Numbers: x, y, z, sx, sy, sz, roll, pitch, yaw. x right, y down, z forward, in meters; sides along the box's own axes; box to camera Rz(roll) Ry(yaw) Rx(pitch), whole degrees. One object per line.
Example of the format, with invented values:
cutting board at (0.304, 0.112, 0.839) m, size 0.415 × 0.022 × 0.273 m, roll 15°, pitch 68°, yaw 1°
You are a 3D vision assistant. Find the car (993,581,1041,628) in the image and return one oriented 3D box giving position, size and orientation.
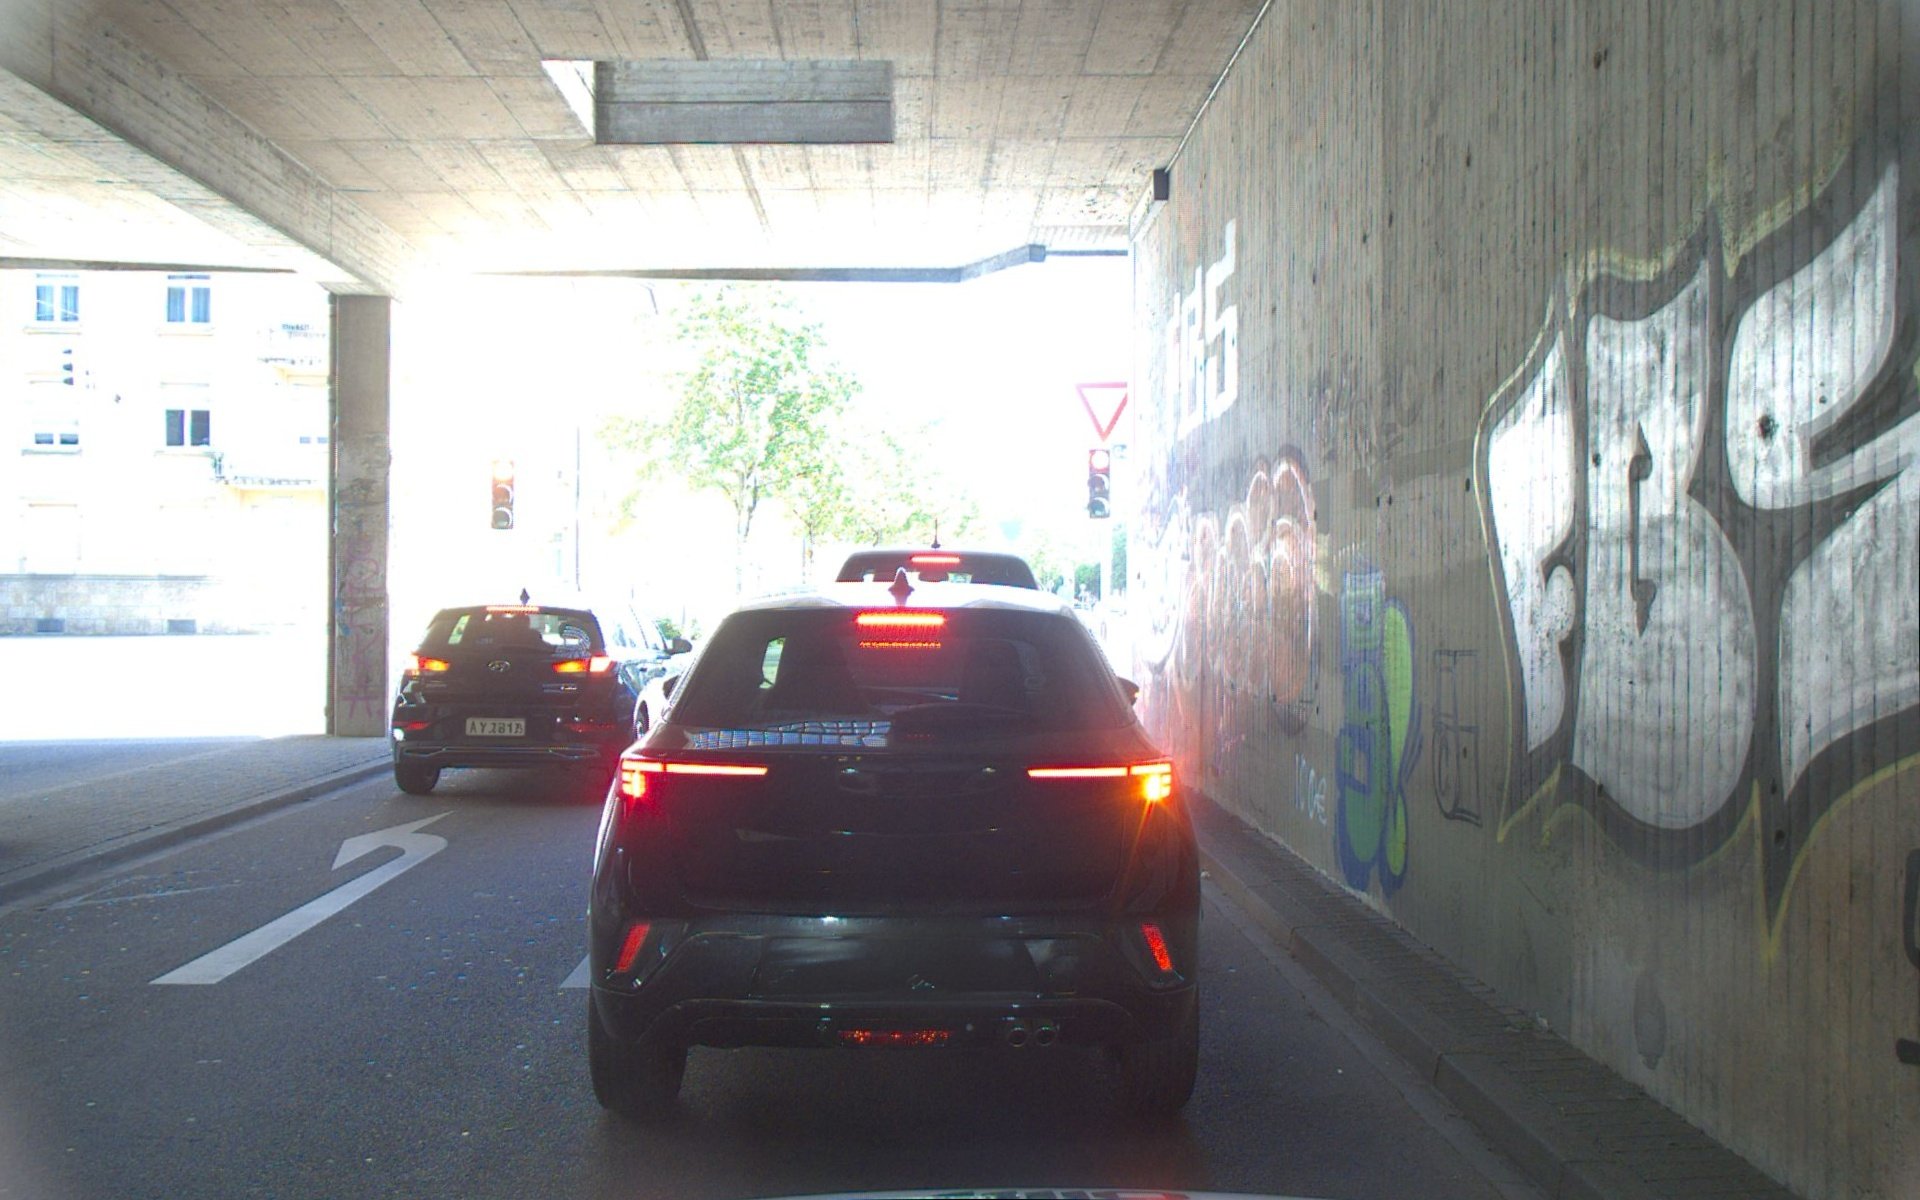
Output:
car at (2.178, 0.184, 62.253) m, size 1.717 × 1.696 × 3.946 m, roll 1°, pitch 0°, yaw 3°

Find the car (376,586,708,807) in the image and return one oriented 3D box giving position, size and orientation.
car at (-3.151, 0.657, 13.256) m, size 1.726 × 1.506 × 3.843 m, roll 0°, pitch 0°, yaw -1°

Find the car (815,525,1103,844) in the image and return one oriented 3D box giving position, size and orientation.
car at (-0.035, 0.504, 12.058) m, size 1.726 × 1.915 × 4.145 m, roll 0°, pitch 0°, yaw -1°

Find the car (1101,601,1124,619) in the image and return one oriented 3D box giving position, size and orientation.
car at (15.160, 0.999, 164.345) m, size 1.778 × 1.696 × 4.819 m, roll 1°, pitch 0°, yaw 11°

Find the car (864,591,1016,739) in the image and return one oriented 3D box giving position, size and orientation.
car at (-0.240, 0.671, 19.273) m, size 1.576 × 1.539 × 4.053 m, roll 0°, pitch 0°, yaw -1°

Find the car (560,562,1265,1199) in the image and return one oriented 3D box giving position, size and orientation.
car at (-0.141, 0.686, 6.113) m, size 1.726 × 1.558 × 4.088 m, roll 0°, pitch 0°, yaw -1°

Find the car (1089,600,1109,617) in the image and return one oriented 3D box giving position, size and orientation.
car at (14.760, 0.889, 175.838) m, size 1.716 × 1.696 × 3.948 m, roll 1°, pitch 0°, yaw 10°

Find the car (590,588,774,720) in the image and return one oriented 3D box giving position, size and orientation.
car at (-3.422, 0.618, 20.977) m, size 1.726 × 1.506 × 3.843 m, roll 0°, pitch 0°, yaw -1°

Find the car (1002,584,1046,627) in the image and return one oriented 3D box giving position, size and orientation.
car at (2.668, 0.219, 68.379) m, size 1.717 × 1.696 × 3.946 m, roll 1°, pitch 0°, yaw 3°
